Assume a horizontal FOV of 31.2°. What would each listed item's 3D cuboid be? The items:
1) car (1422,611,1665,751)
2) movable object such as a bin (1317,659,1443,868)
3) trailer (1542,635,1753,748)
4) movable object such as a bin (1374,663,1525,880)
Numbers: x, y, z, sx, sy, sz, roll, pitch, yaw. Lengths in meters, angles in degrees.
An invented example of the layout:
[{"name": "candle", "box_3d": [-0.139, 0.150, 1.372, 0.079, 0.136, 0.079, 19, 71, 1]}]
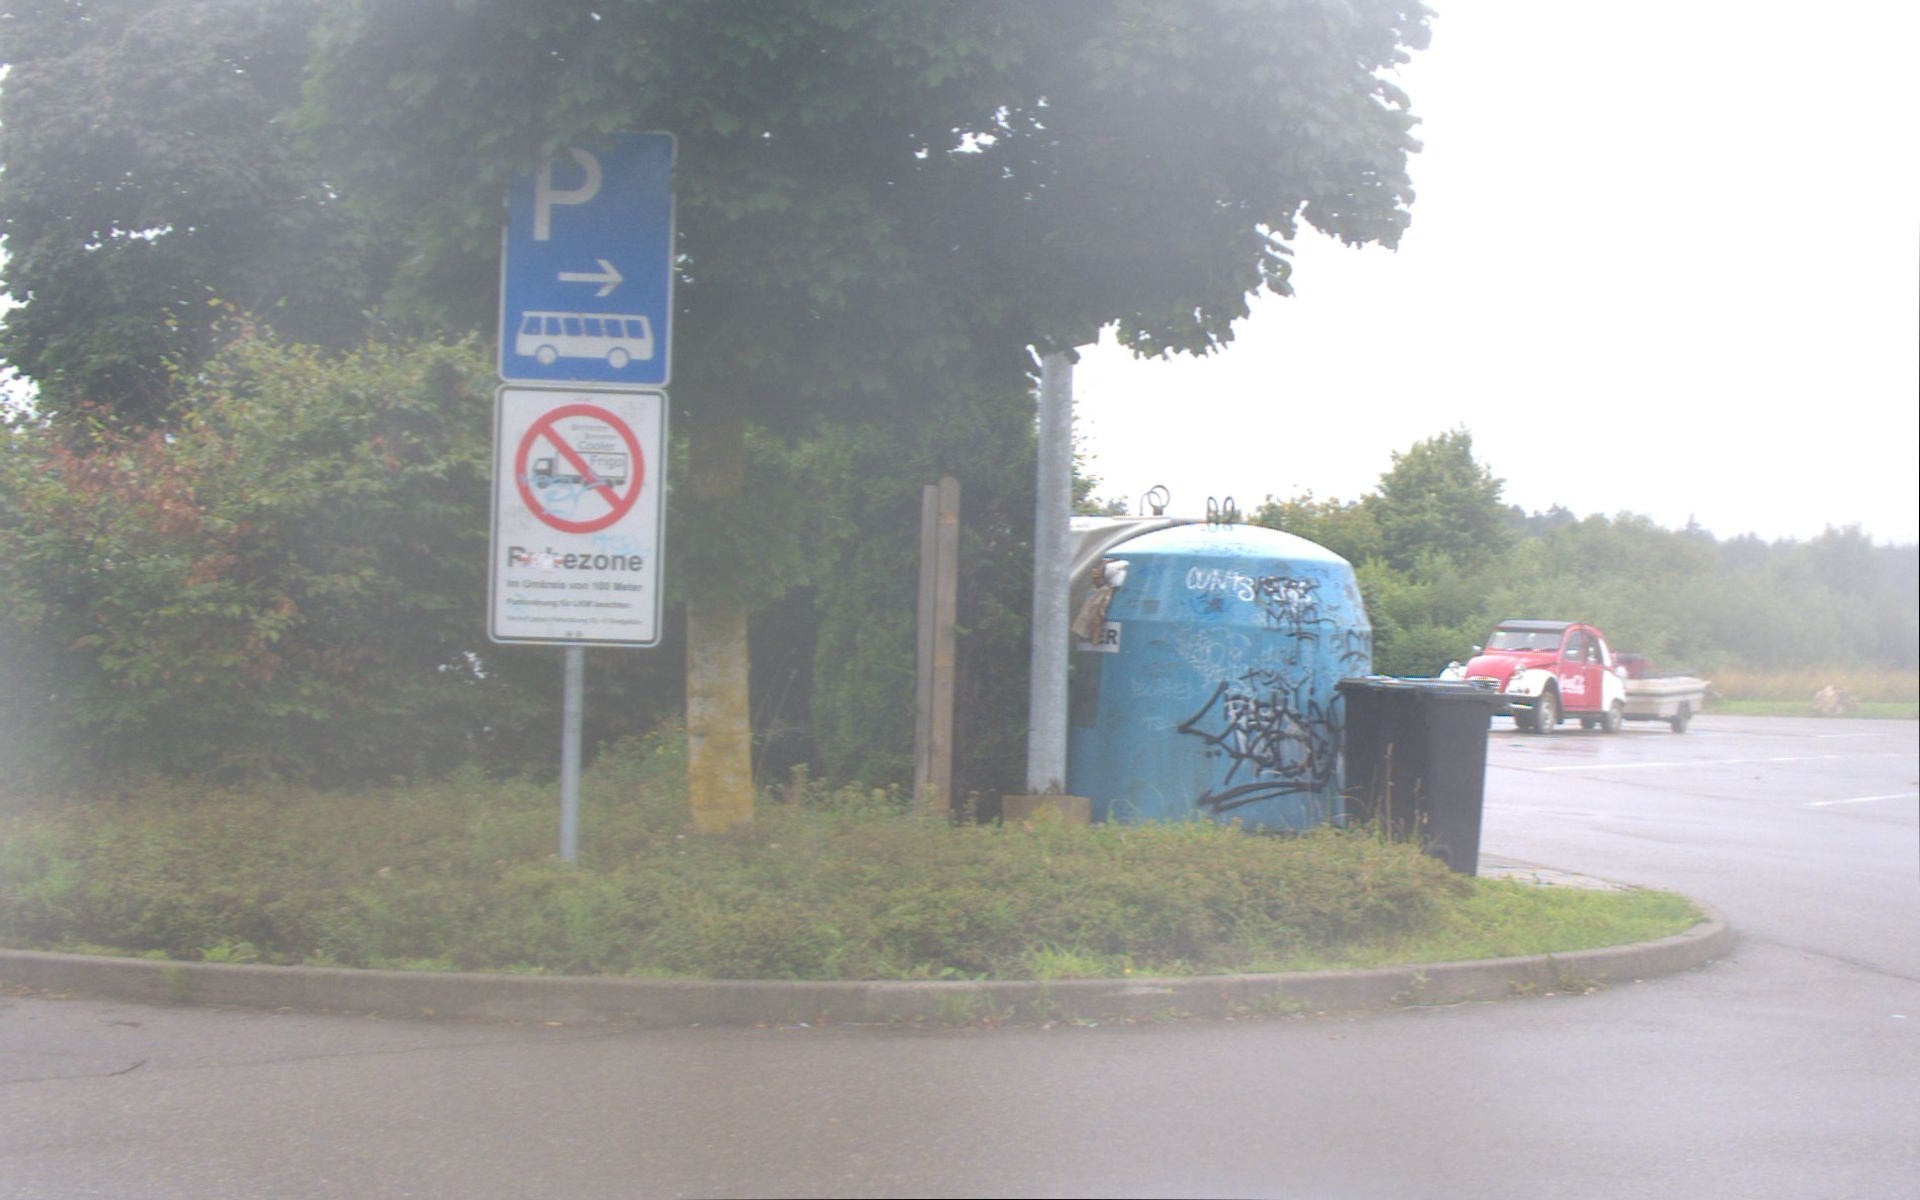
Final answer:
[{"name": "car", "box_3d": [7.897, 1.105, 46.265, 1.825, 1.771, 3.992, 1, -1, 32]}, {"name": "movable object such as a bin", "box_3d": [1.977, 0.761, 16.168, 0.405, 0.945, 0.450, 3, 1, 29]}, {"name": "trailer", "box_3d": [9.976, 1.310, 49.706, 1.698, 1.527, 3.993, 1, -1, 32]}, {"name": "movable object such as a bin", "box_3d": [2.233, 0.778, 15.685, 0.471, 0.945, 0.435, 3, 0, -38]}]
